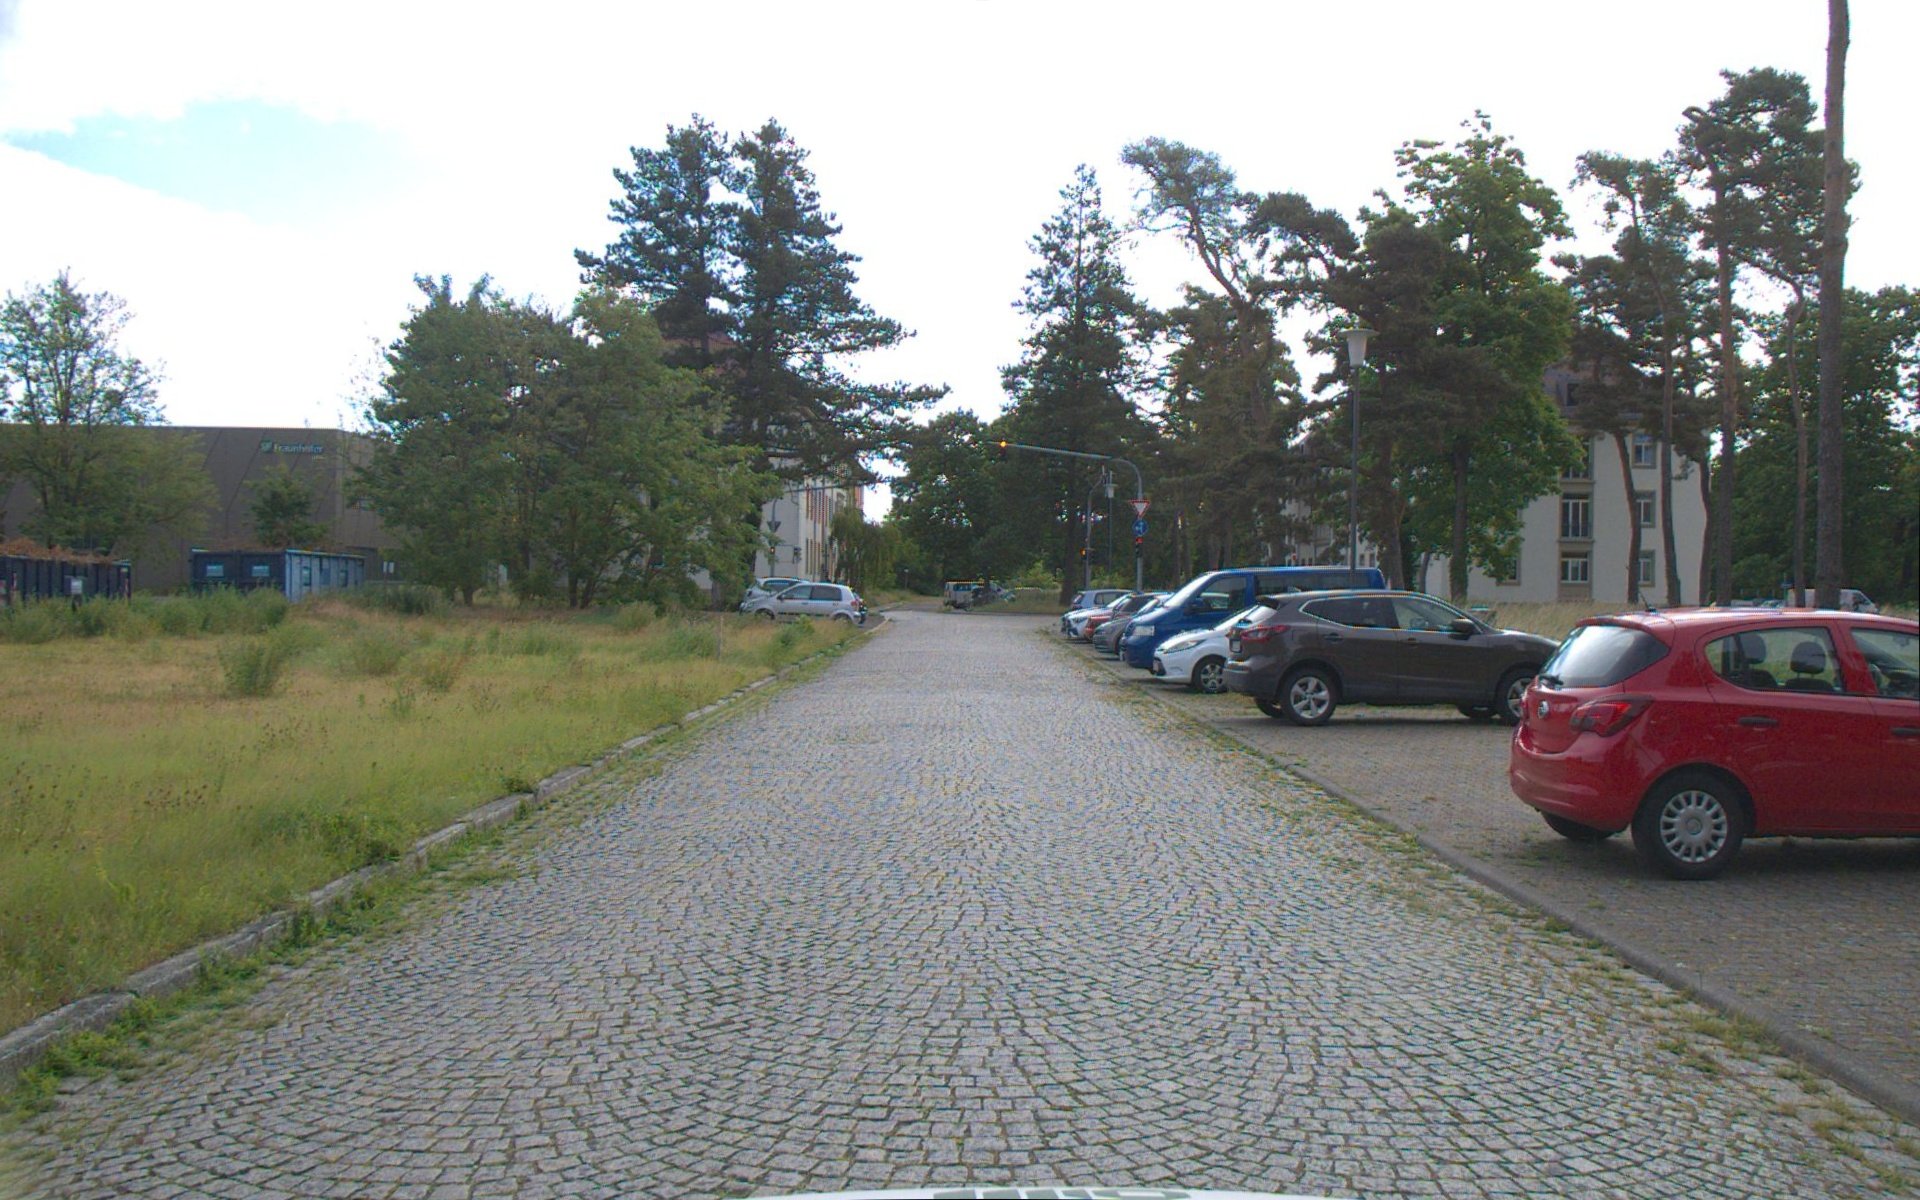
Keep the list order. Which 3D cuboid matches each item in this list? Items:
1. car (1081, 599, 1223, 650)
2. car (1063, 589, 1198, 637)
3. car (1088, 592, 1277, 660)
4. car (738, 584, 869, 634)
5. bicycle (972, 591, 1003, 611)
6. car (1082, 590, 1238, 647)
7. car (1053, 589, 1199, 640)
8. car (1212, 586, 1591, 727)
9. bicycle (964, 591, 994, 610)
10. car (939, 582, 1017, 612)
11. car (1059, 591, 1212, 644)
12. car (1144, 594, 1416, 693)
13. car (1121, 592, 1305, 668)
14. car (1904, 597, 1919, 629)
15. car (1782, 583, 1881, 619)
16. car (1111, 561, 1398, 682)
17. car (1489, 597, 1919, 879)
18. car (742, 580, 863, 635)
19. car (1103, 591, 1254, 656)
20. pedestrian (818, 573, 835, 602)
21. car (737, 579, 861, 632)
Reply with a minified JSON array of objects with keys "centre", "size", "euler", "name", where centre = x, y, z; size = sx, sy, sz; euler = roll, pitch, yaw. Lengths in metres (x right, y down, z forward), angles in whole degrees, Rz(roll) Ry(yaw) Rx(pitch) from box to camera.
[{"centre":[4.957,0.625,42.956],"size":[3.512,1.244,1.629],"euler":[0,0,1],"name":"car"},{"centre":[5.431,0.394,52.983],"size":[4.055,1.489,1.632],"euler":[0,0,-6],"name":"car"},{"centre":[4.996,0.575,37.463],"size":[4.045,1.472,1.766],"euler":[0,0,0],"name":"car"},{"centre":[-5.147,0.275,54.573],"size":[4.215,1.581,1.810],"euler":[0,0,-6],"name":"car"},{"centre":[1.747,0.073,105.072],"size":[1.845,1.191,0.664],"euler":[2,0,-6],"name":"bicycle"},{"centre":[5.442,0.499,45.302],"size":[4.022,1.502,1.684],"euler":[0,0,-2],"name":"car"},{"centre":[5.042,0.428,50.428],"size":[4.153,1.505,1.705],"euler":[0,0,-11],"name":"car"},{"centre":[5.331,0.652,20.351],"size":[4.119,1.623,1.952],"euler":[0,0,-3],"name":"car"},{"centre":[1.240,0.042,108.566],"size":[1.845,1.191,0.664],"euler":[2,0,-6],"name":"bicycle"},{"centre":[1.280,-0.229,119.873],"size":[5.282,2.138,2.172],"euler":[1,0,-13],"name":"car"},{"centre":[5.032,0.494,47.661],"size":[4.106,1.462,1.752],"euler":[0,0,-8],"name":"car"},{"centre":[5.110,0.675,26.706],"size":[4.016,1.504,1.721],"euler":[0,0,-3],"name":"car"},{"centre":[5.238,0.608,34.560],"size":[3.579,1.504,1.765],"euler":[0,0,-1],"name":"car"},{"centre":[57.207,0.843,95.696],"size":[4.048,1.835,1.900],"euler":[2,0,2],"name":"car"},{"centre":[56.045,0.057,106.418],"size":[5.191,2.055,2.106],"euler":[2,0,0],"name":"car"},{"centre":[5.126,0.359,29.250],"size":[4.699,2.039,1.965],"euler":[0,0,-2],"name":"car"},{"centre":[5.418,0.754,10.047],"size":[3.844,1.522,1.784],"euler":[0,0,-2],"name":"car"},{"centre":[-4.911,0.229,51.978],"size":[3.647,1.506,1.672],"euler":[3,0,-3],"name":"car"},{"centre":[5.284,0.562,40.333],"size":[3.434,1.513,1.743],"euler":[0,0,-1],"name":"car"},{"centre":[-9.469,-0.906,117.497],"size":[1.052,1.993,1.121],"euler":[2,0,0],"name":"pedestrian"},{"centre":[-5.580,0.174,57.375],"size":[4.214,1.762,1.651],"euler":[0,0,-6],"name":"car"}]
